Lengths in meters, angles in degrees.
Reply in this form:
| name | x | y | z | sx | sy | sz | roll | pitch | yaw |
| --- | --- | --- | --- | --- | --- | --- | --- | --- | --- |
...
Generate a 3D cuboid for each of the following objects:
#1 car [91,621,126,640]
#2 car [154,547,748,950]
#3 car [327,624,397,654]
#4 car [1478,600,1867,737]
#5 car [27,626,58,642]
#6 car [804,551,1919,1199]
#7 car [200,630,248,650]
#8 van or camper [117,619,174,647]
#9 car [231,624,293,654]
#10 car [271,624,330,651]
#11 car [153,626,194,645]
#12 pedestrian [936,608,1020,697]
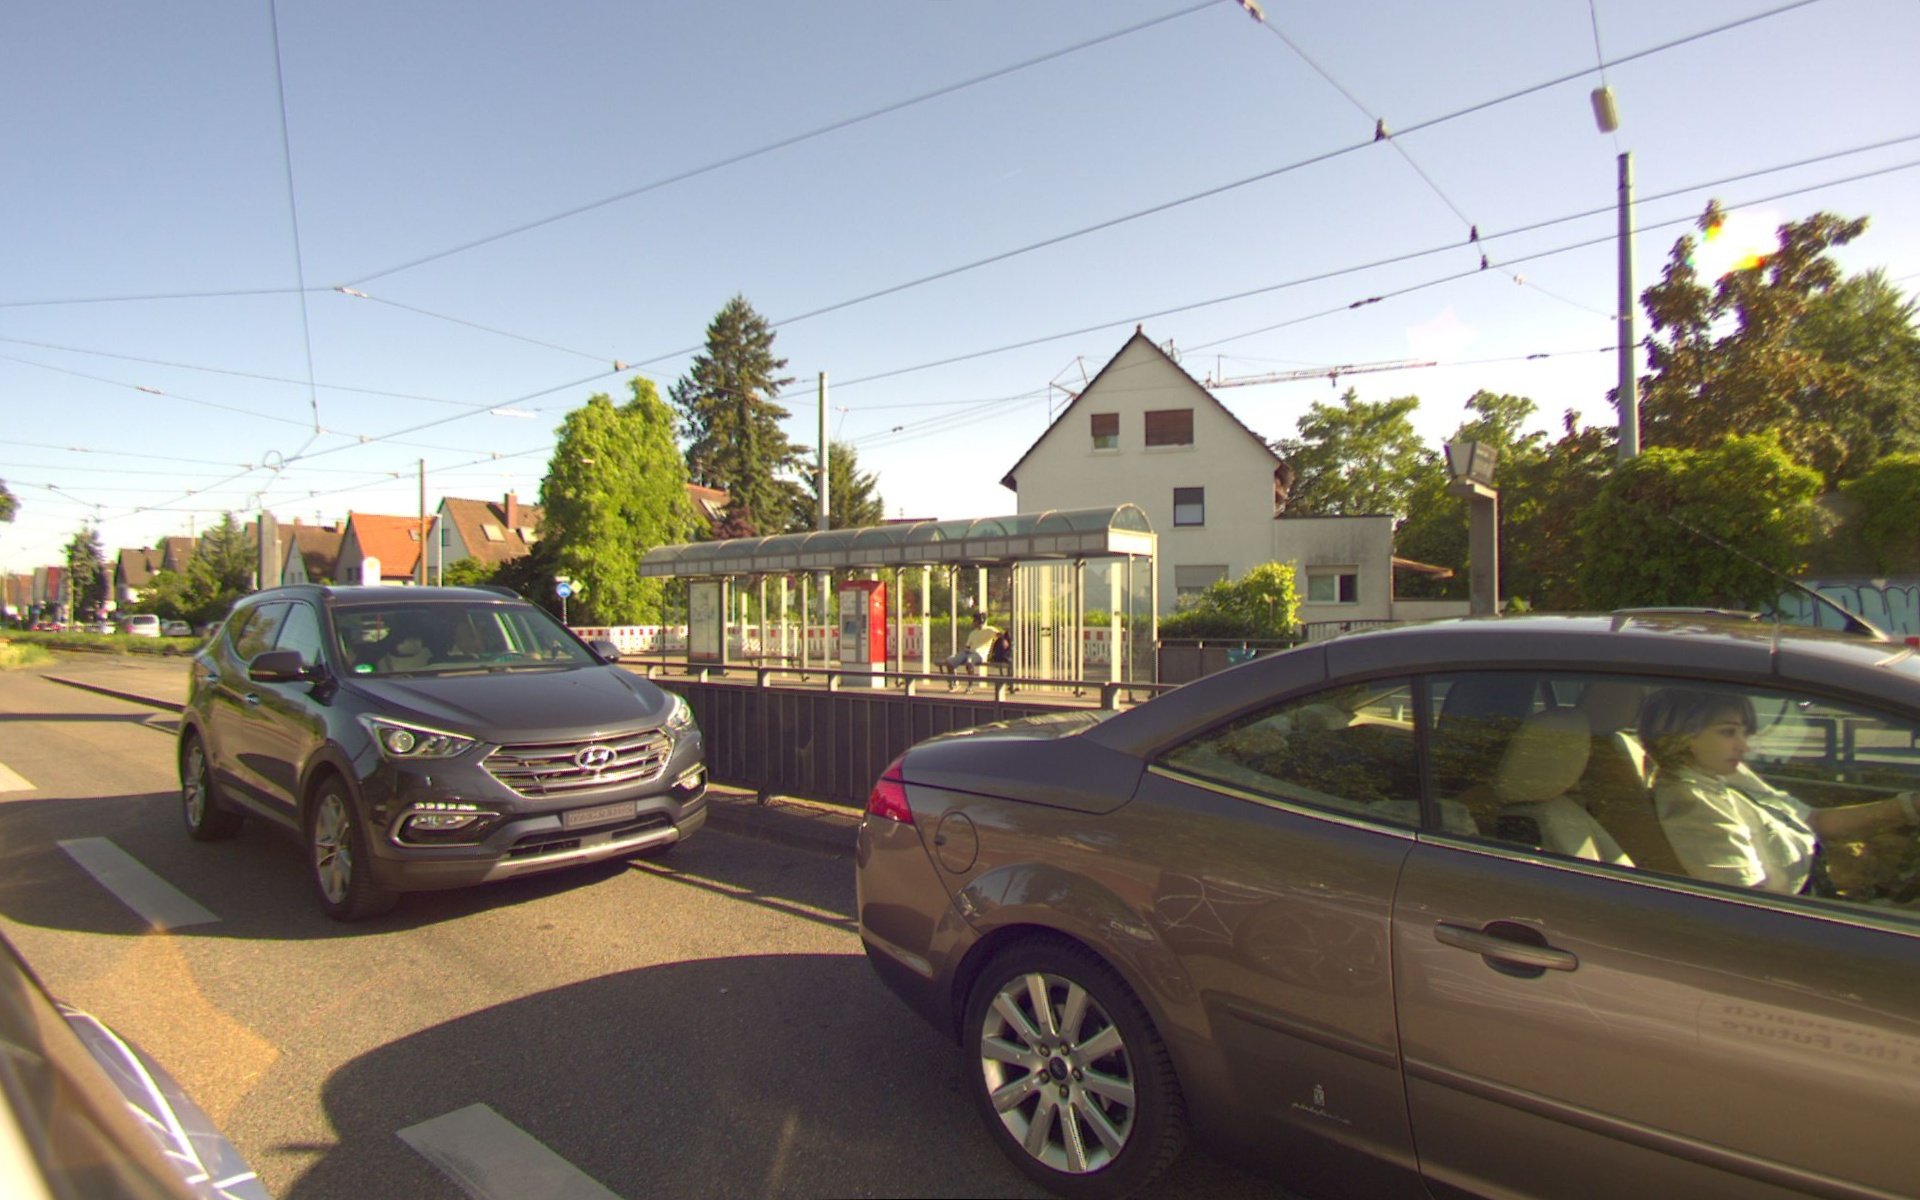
| name | x | y | z | sx | sy | sz | roll | pitch | yaw |
| --- | --- | --- | --- | --- | --- | --- | --- | --- | --- |
| car | -84.625 | 3.013 | 100.552 | 4.582 | 1.877 | 1.973 | -2 | -1 | 41 |
| car | -3.334 | 0.662 | 6.215 | 4.285 | 1.642 | 1.757 | -2 | -2 | 41 |
| car | -32.982 | 2.118 | 55.806 | 4.610 | 1.483 | 1.865 | -1 | 0 | 40 |
| car | 9.203 | 0.830 | 13.347 | 3.979 | 1.556 | 1.571 | -2 | -2 | 39 |
| car | -89.562 | 3.334 | 98.806 | 4.341 | 1.532 | 1.717 | -2 | -2 | 41 |
| car | 1.741 | 0.678 | 2.265 | 4.331 | 1.461 | 1.757 | -2 | -2 | 41 |
| car | -54.261 | 2.947 | 74.566 | 4.308 | 1.382 | 1.972 | -2 | -1 | 42 |
| van or camper | -56.564 | 2.281 | 70.264 | 5.982 | 1.842 | 1.973 | -2 | -2 | 40 |
| car | -35.762 | 1.995 | 51.822 | 4.013 | 1.413 | 1.588 | 0 | -3 | 40 |
| car | -40.474 | 2.273 | 62.095 | 4.438 | 1.477 | 1.887 | -1 | 0 | 41 |
| car | -65.209 | 2.914 | 83.876 | 4.837 | 1.483 | 1.864 | -2 | 0 | 42 |
| pedestrian | 0.318 | 0.897 | 17.514 | 1.006 | 1.464 | 1.050 | -1 | -3 | 40 |
